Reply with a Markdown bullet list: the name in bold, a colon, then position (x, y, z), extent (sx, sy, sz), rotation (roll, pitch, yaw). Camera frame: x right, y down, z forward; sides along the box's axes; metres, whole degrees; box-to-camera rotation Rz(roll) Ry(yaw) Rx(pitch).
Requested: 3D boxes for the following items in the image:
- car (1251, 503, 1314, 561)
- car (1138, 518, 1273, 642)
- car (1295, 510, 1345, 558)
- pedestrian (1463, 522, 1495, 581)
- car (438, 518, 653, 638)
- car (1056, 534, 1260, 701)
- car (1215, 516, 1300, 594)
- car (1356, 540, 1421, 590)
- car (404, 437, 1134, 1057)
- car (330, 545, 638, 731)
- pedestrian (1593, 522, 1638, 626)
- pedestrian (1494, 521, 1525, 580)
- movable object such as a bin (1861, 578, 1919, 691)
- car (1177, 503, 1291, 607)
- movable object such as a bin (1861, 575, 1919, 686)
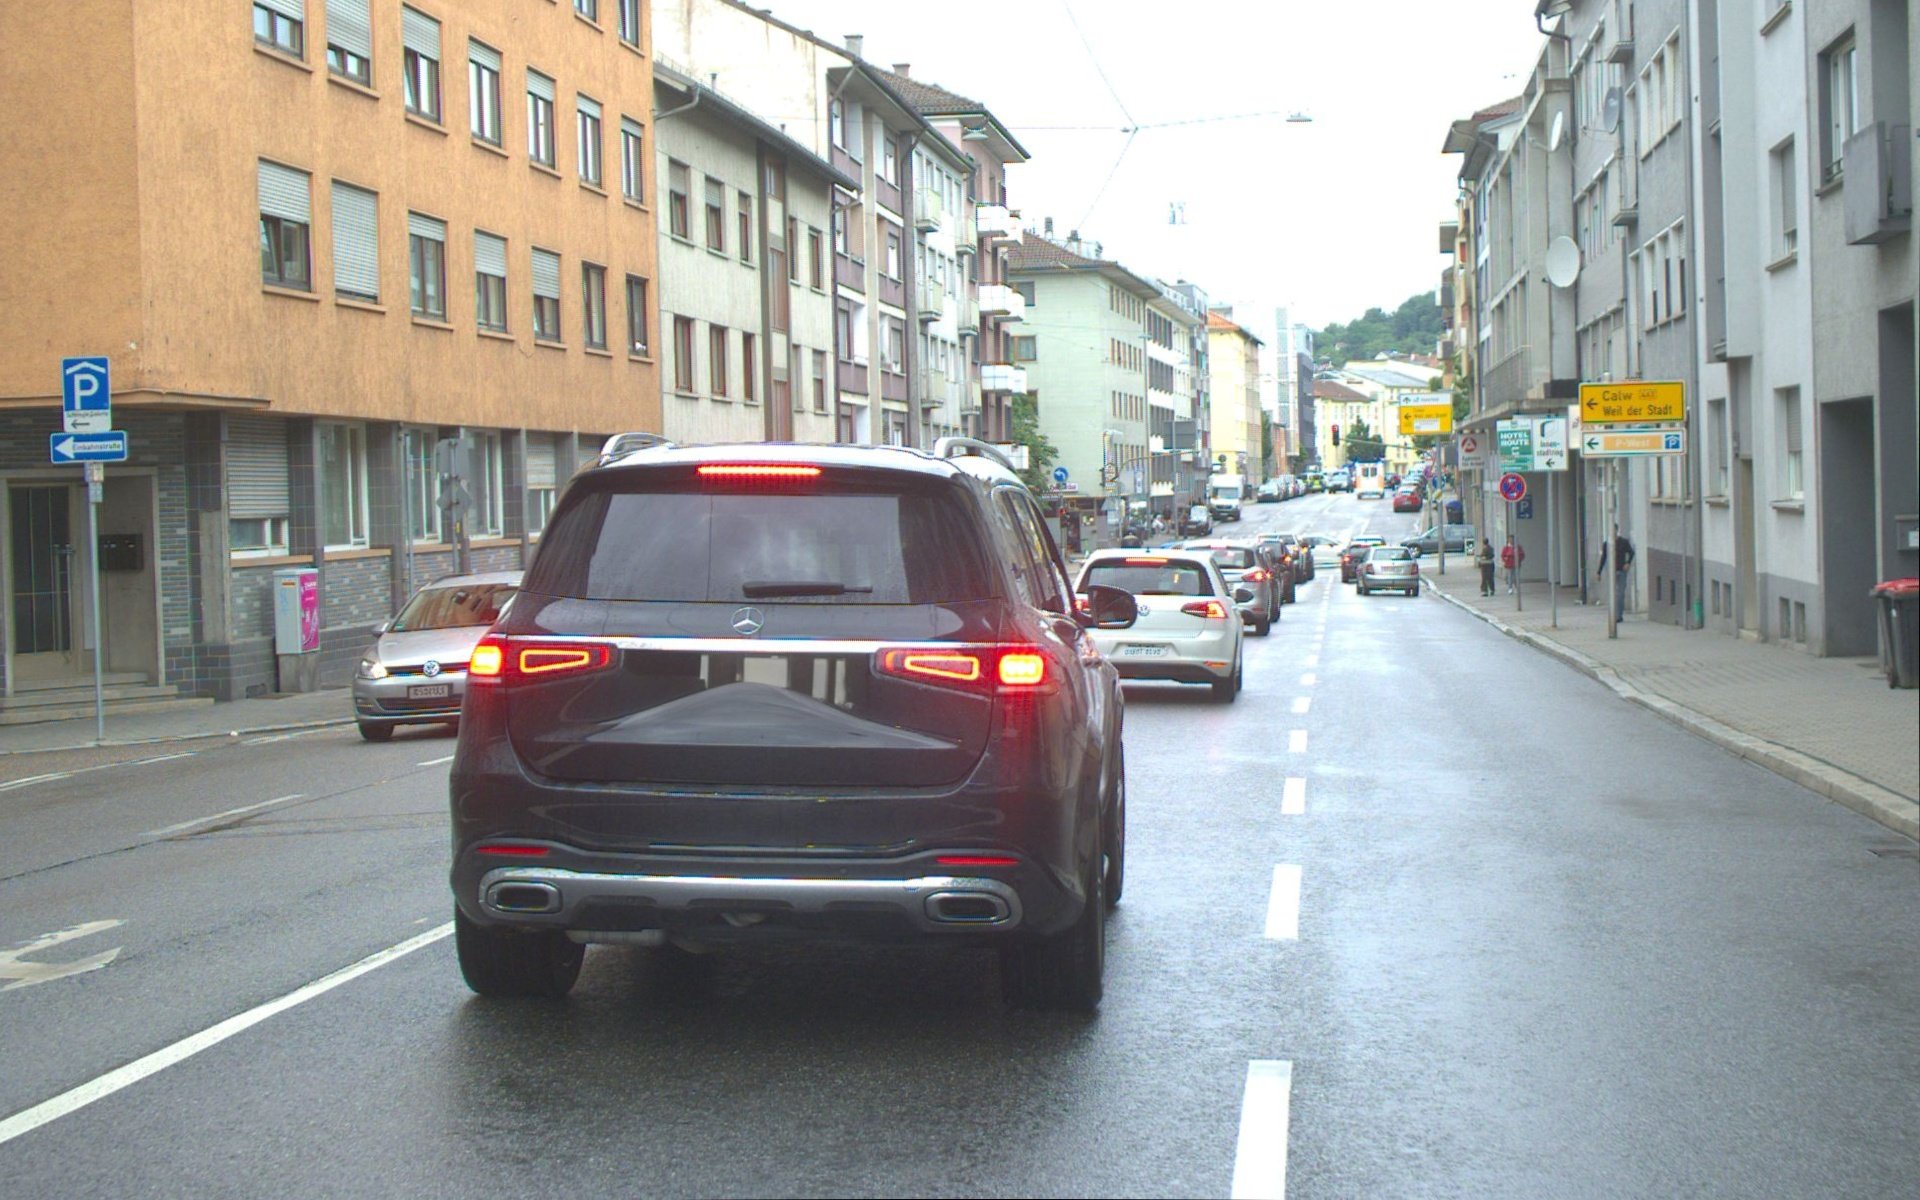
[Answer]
- **car**: position (11.503, -2.434, 122.407), extent (1.994, 2.007, 3.999), rotation (0, 2, 8)
- **car**: position (4.201, -0.380, 58.282), extent (1.994, 2.007, 3.999), rotation (0, 2, 8)
- **car**: position (15.578, -2.865, 148.666), extent (1.994, 2.007, 3.999), rotation (0, 2, 8)
- **pedestrian**: position (13.776, -1.286, 91.218), extent (0.821, 1.560, 0.899), rotation (0, 1, 9)
- **car**: position (-5.264, -0.321, 44.268), extent (1.891, 1.453, 4.549), rotation (0, 2, 4)
- **car**: position (1.993, 0.122, 34.346), extent (1.893, 1.505, 4.173), rotation (1, 2, 4)
- **car**: position (7.818, -1.201, 90.087), extent (1.994, 2.007, 3.999), rotation (0, 2, 8)
- **car**: position (12.587, -1.048, 101.093), extent (1.734, 1.383, 4.582), rotation (0, 2, 5)
- **car**: position (-0.473, 0.348, 12.089), extent (2.076, 1.759, 4.611), rotation (0, 2, 2)
- **car**: position (-4.355, 0.297, 32.130), extent (1.827, 1.411, 4.295), rotation (-5, 1, 5)
- **pedestrian**: position (11.300, -0.450, 59.281), extent (0.656, 1.746, 0.741), rotation (-3, 1, 11)
- **pedestrian**: position (14.562, -1.314, 91.102), extent (0.821, 1.560, 0.899), rotation (0, 1, 9)
- **movable object such as a bin**: position (8.368, 0.307, 30.746), extent (0.473, 0.959, 0.564), rotation (-5, 1, 8)
- **car**: position (5.480, -0.920, 68.314), extent (1.994, 2.007, 3.999), rotation (0, 2, 8)
- **movable object such as a bin**: position (8.550, 0.271, 31.274), extent (0.562, 0.959, 0.474), rotation (-5, 1, 9)
